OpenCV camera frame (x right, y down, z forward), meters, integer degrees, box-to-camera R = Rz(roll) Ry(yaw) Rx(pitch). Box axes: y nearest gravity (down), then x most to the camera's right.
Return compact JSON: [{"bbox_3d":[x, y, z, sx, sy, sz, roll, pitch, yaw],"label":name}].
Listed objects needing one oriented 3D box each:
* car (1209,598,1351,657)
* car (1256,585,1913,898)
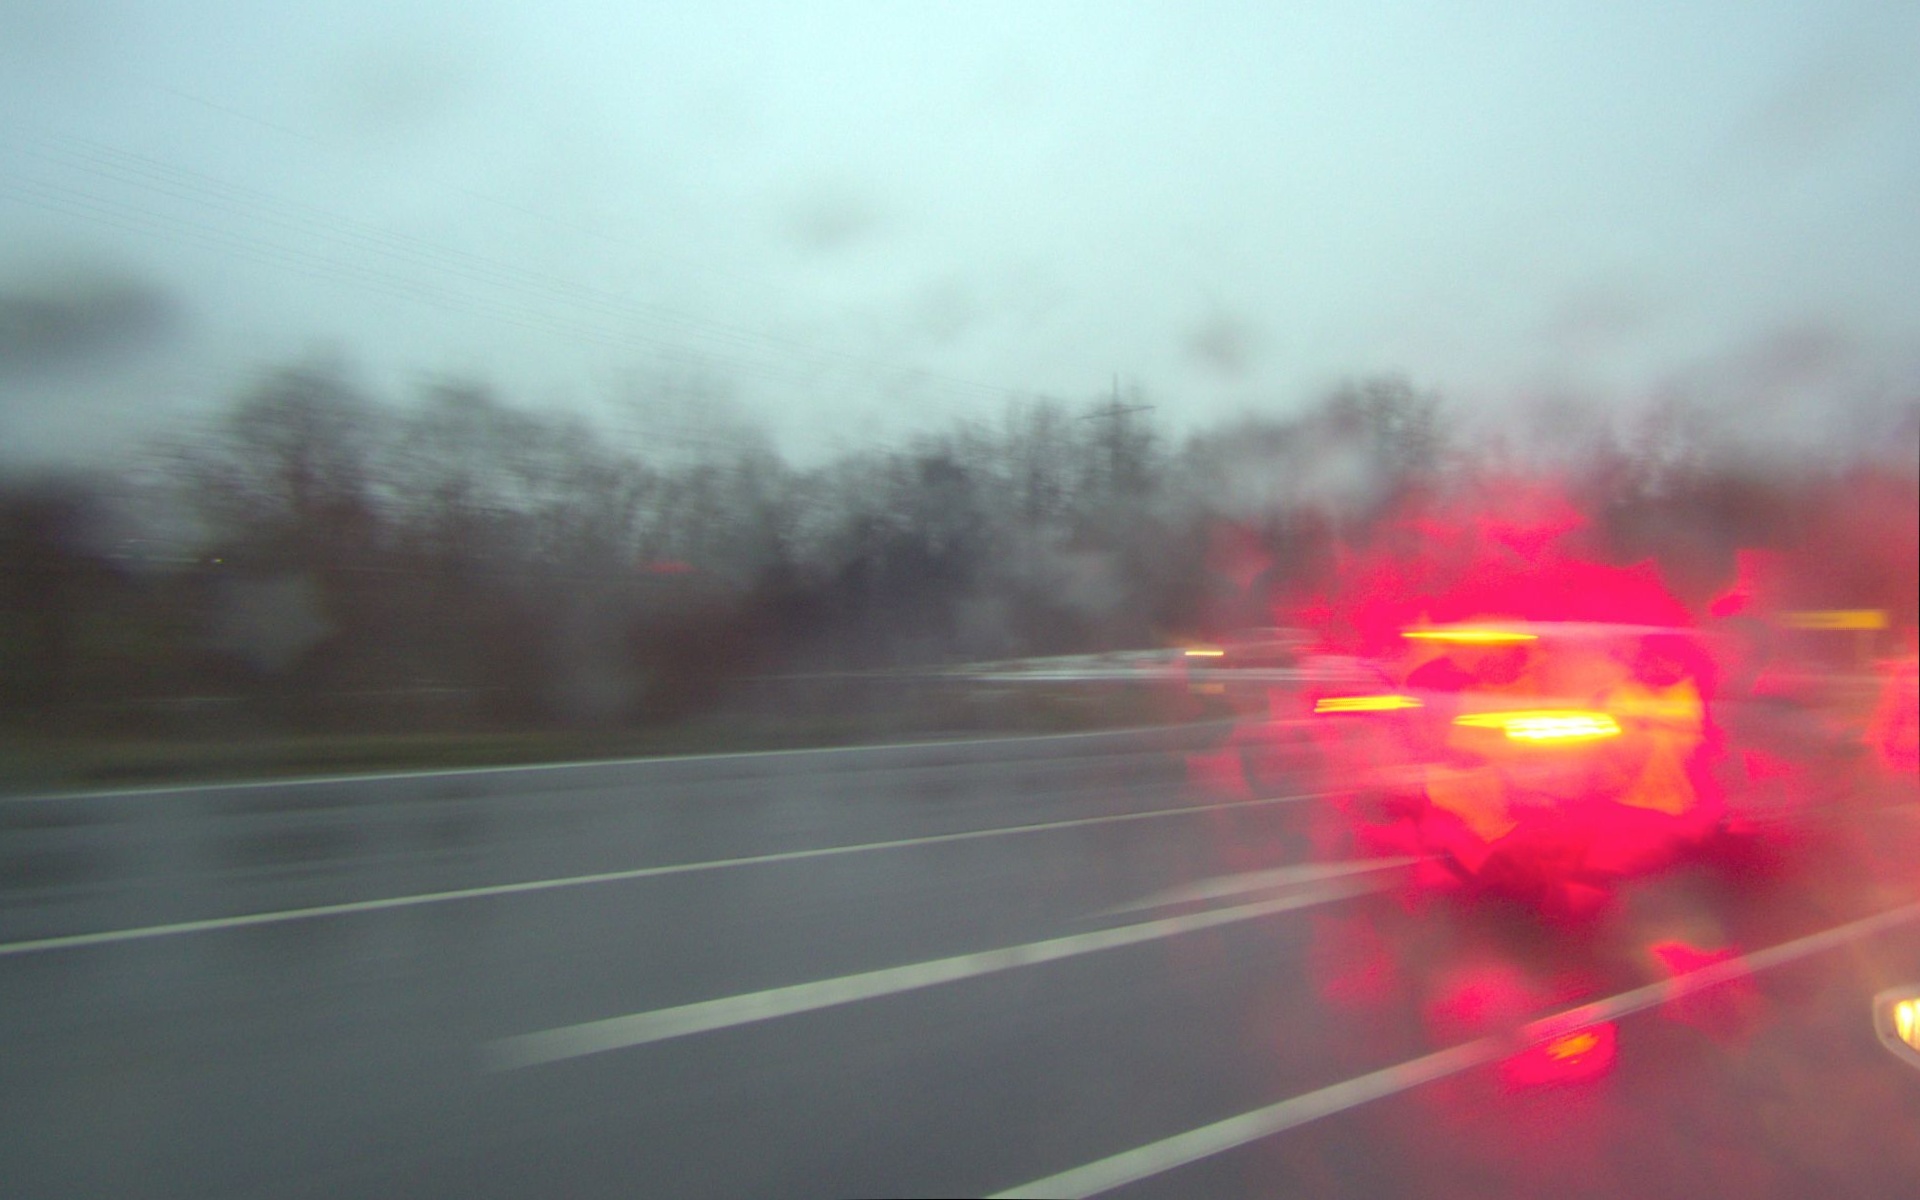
[{"bbox_3d":[11.583,0.969,36.723,4.713,1.779,1.958,3,2,12],"label":"car"},{"bbox_3d":[4.460,0.769,7.061,4.462,1.576,1.996,2,0,-29],"label":"car"}]
